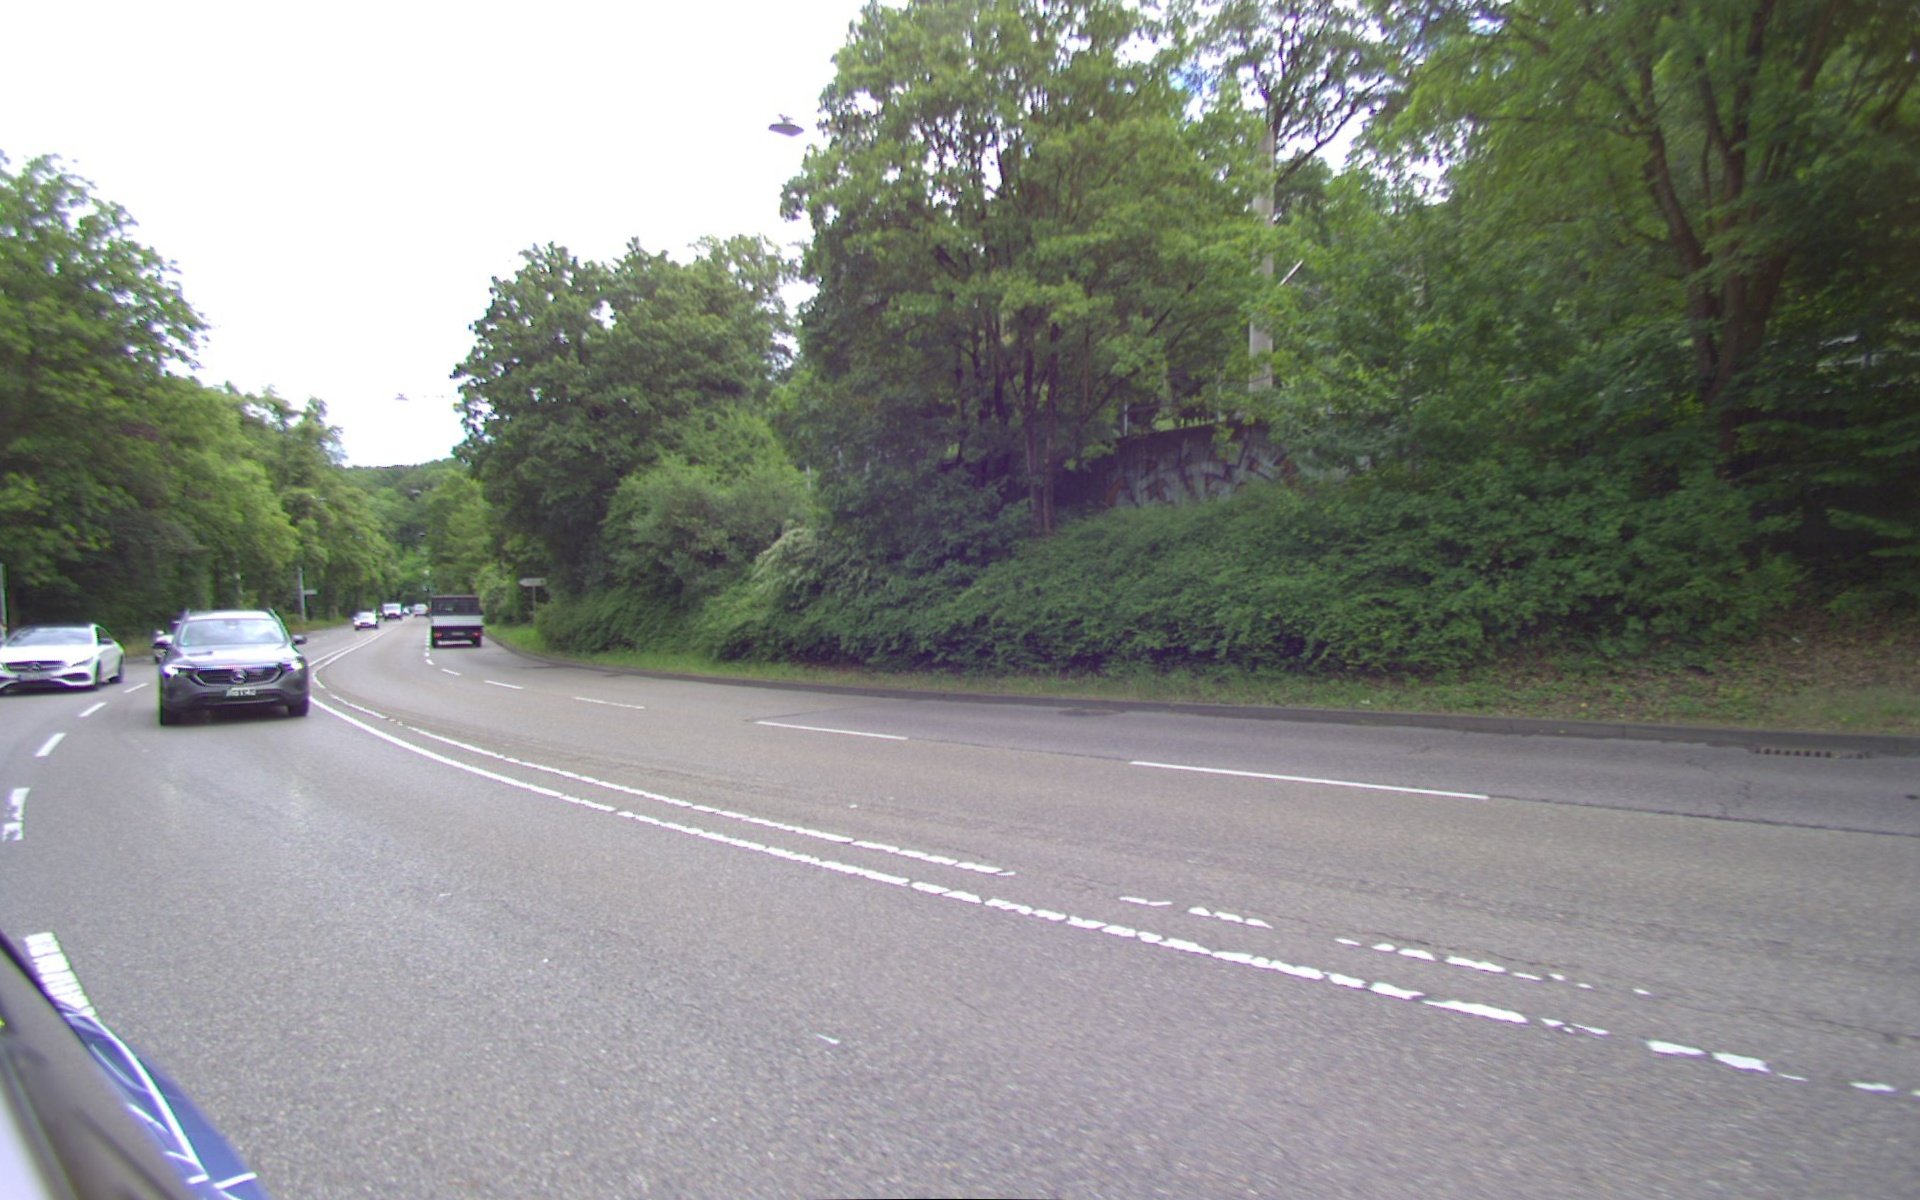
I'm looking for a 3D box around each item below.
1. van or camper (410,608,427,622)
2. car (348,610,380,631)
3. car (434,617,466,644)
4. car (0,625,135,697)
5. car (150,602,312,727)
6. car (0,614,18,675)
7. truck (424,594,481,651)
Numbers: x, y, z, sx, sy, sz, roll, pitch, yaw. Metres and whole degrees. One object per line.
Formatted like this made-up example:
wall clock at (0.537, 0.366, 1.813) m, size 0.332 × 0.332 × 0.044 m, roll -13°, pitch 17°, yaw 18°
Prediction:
van or camper at (-85.446, 2.297, 159.727) m, size 1.965 × 2.029 × 5.386 m, roll 5°, pitch -3°, yaw -26°
car at (-49.941, 1.746, 84.753) m, size 1.672 × 1.594 × 4.007 m, roll -5°, pitch 2°, yaw -39°
car at (-34.130, 2.015, 67.759) m, size 1.830 × 1.707 × 4.450 m, roll 2°, pitch -2°, yaw -26°
car at (-19.427, 1.241, 21.716) m, size 1.865 × 1.306 × 4.341 m, roll 0°, pitch -1°, yaw -28°
car at (-11.523, 0.897, 15.964) m, size 1.842 × 1.675 × 4.201 m, roll -1°, pitch 0°, yaw -37°
car at (-24.682, 1.161, 24.547) m, size 1.778 × 1.536 × 4.012 m, roll -4°, pitch 1°, yaw -30°
truck at (-23.105, 0.991, 45.930) m, size 2.130 × 2.389 × 6.699 m, roll 0°, pitch -1°, yaw -28°
